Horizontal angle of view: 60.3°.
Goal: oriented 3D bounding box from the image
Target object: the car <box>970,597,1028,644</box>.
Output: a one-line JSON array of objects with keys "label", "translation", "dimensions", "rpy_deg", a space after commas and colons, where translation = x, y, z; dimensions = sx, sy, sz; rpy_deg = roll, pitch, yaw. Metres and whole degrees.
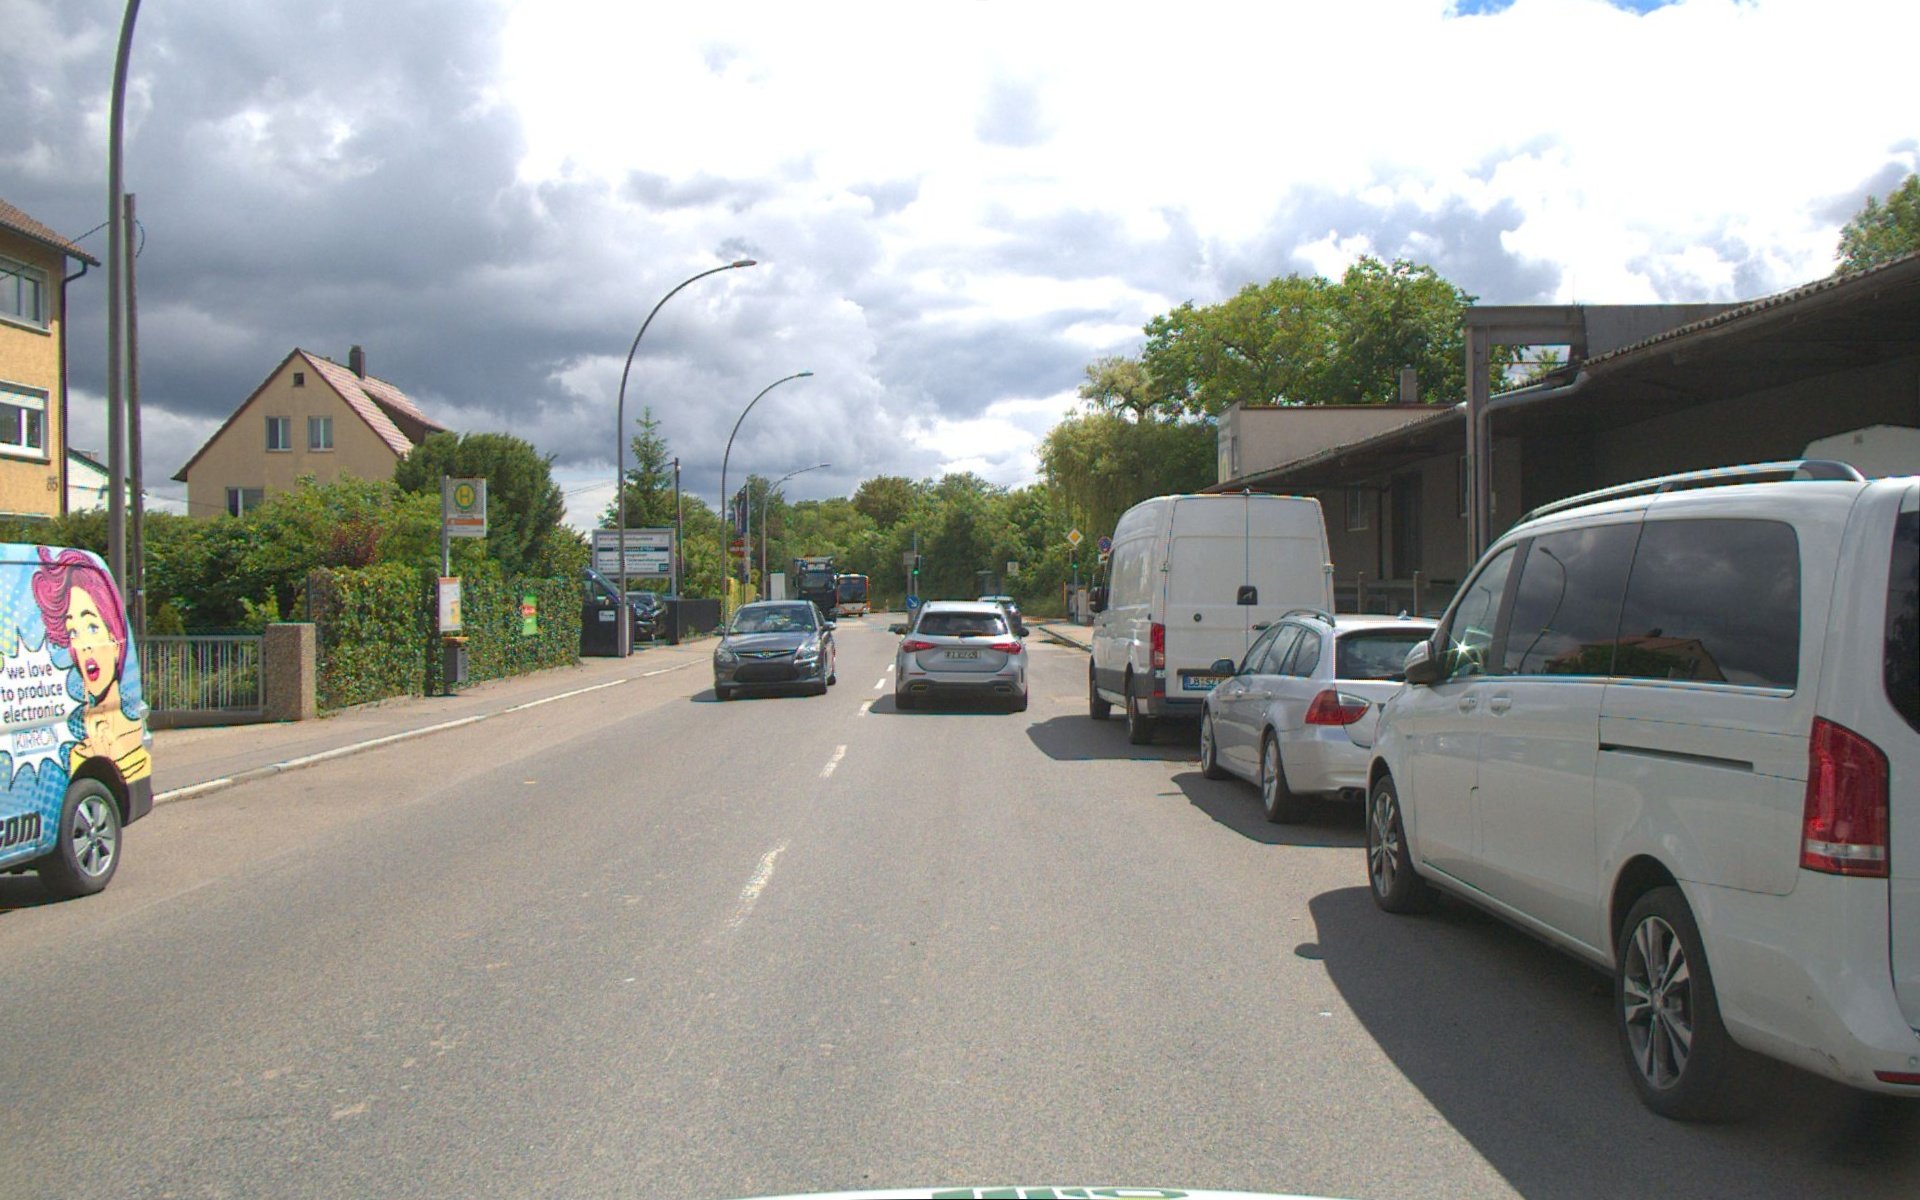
[{"label": "car", "translation": [1.310, 0.666, 56.973], "dimensions": [1.846, 1.535, 3.999], "rpy_deg": [0, 0, -1]}]

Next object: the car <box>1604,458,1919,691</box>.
[{"label": "car", "translation": [10.820, -0.371, 22.276], "dimensions": [1.977, 2.728, 5.496], "rpy_deg": [-1, 1, -2]}]

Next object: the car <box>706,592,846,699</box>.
[{"label": "car", "translation": [-2.896, 0.668, 26.856], "dimensions": [1.862, 1.544, 4.317], "rpy_deg": [-2, 0, -2]}]

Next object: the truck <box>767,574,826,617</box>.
[{"label": "truck", "translation": [-14.372, -0.345, 144.729], "dimensions": [2.799, 3.602, 9.665], "rpy_deg": [-1, 0, -20]}]

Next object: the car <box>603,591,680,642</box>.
[{"label": "car", "translation": [-10.772, 0.527, 56.217], "dimensions": [1.991, 1.623, 4.281], "rpy_deg": [-1, 0, -3]}]

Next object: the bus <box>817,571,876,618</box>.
[{"label": "bus", "translation": [-8.733, -0.385, 125.836], "dimensions": [2.729, 3.323, 12.086], "rpy_deg": [-2, 0, -12]}]

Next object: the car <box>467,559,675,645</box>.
[{"label": "car", "translation": [-12.203, 0.054, 52.233], "dimensions": [5.914, 2.540, 2.477], "rpy_deg": [-1, 0, -1]}]

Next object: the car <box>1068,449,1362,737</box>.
[{"label": "car", "translation": [2.699, -0.075, 19.401], "dimensions": [2.170, 2.736, 6.655], "rpy_deg": [-2, 0, -2]}]

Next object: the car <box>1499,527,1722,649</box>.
[{"label": "car", "translation": [11.306, -0.231, 29.137], "dimensions": [1.953, 1.943, 4.852], "rpy_deg": [-1, 1, -1]}]

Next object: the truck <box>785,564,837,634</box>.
[{"label": "truck", "translation": [-9.610, -0.036, 106.020], "dimensions": [2.385, 4.203, 9.125], "rpy_deg": [1, -1, -11]}]

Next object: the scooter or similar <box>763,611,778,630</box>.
[{"label": "scooter or similar", "translation": [-8.363, 0.900, 73.014], "dimensions": [0.599, 0.846, 0.659], "rpy_deg": [1, 0, 0]}]

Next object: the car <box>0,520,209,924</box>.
[{"label": "car", "translation": [-5.407, 0.634, 7.372], "dimensions": [1.796, 1.885, 4.895], "rpy_deg": [-4, 1, -1]}]

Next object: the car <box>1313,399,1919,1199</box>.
[{"label": "car", "translation": [2.998, 0.496, 6.572], "dimensions": [1.867, 1.918, 5.388], "rpy_deg": [1, 0, -2]}]

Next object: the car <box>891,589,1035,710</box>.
[{"label": "car", "translation": [0.022, 0.627, 23.283], "dimensions": [1.846, 1.535, 4.000], "rpy_deg": [0, 0, 0]}]

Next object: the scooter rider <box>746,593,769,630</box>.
[{"label": "scooter rider", "translation": [-8.985, 0.498, 73.401], "dimensions": [0.860, 1.617, 0.796], "rpy_deg": [-1, 0, -1]}]

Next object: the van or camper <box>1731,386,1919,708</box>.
[{"label": "van or camper", "translation": [10.700, -0.538, 16.247], "dimensions": [2.823, 3.114, 6.910], "rpy_deg": [-1, 0, -2]}]
